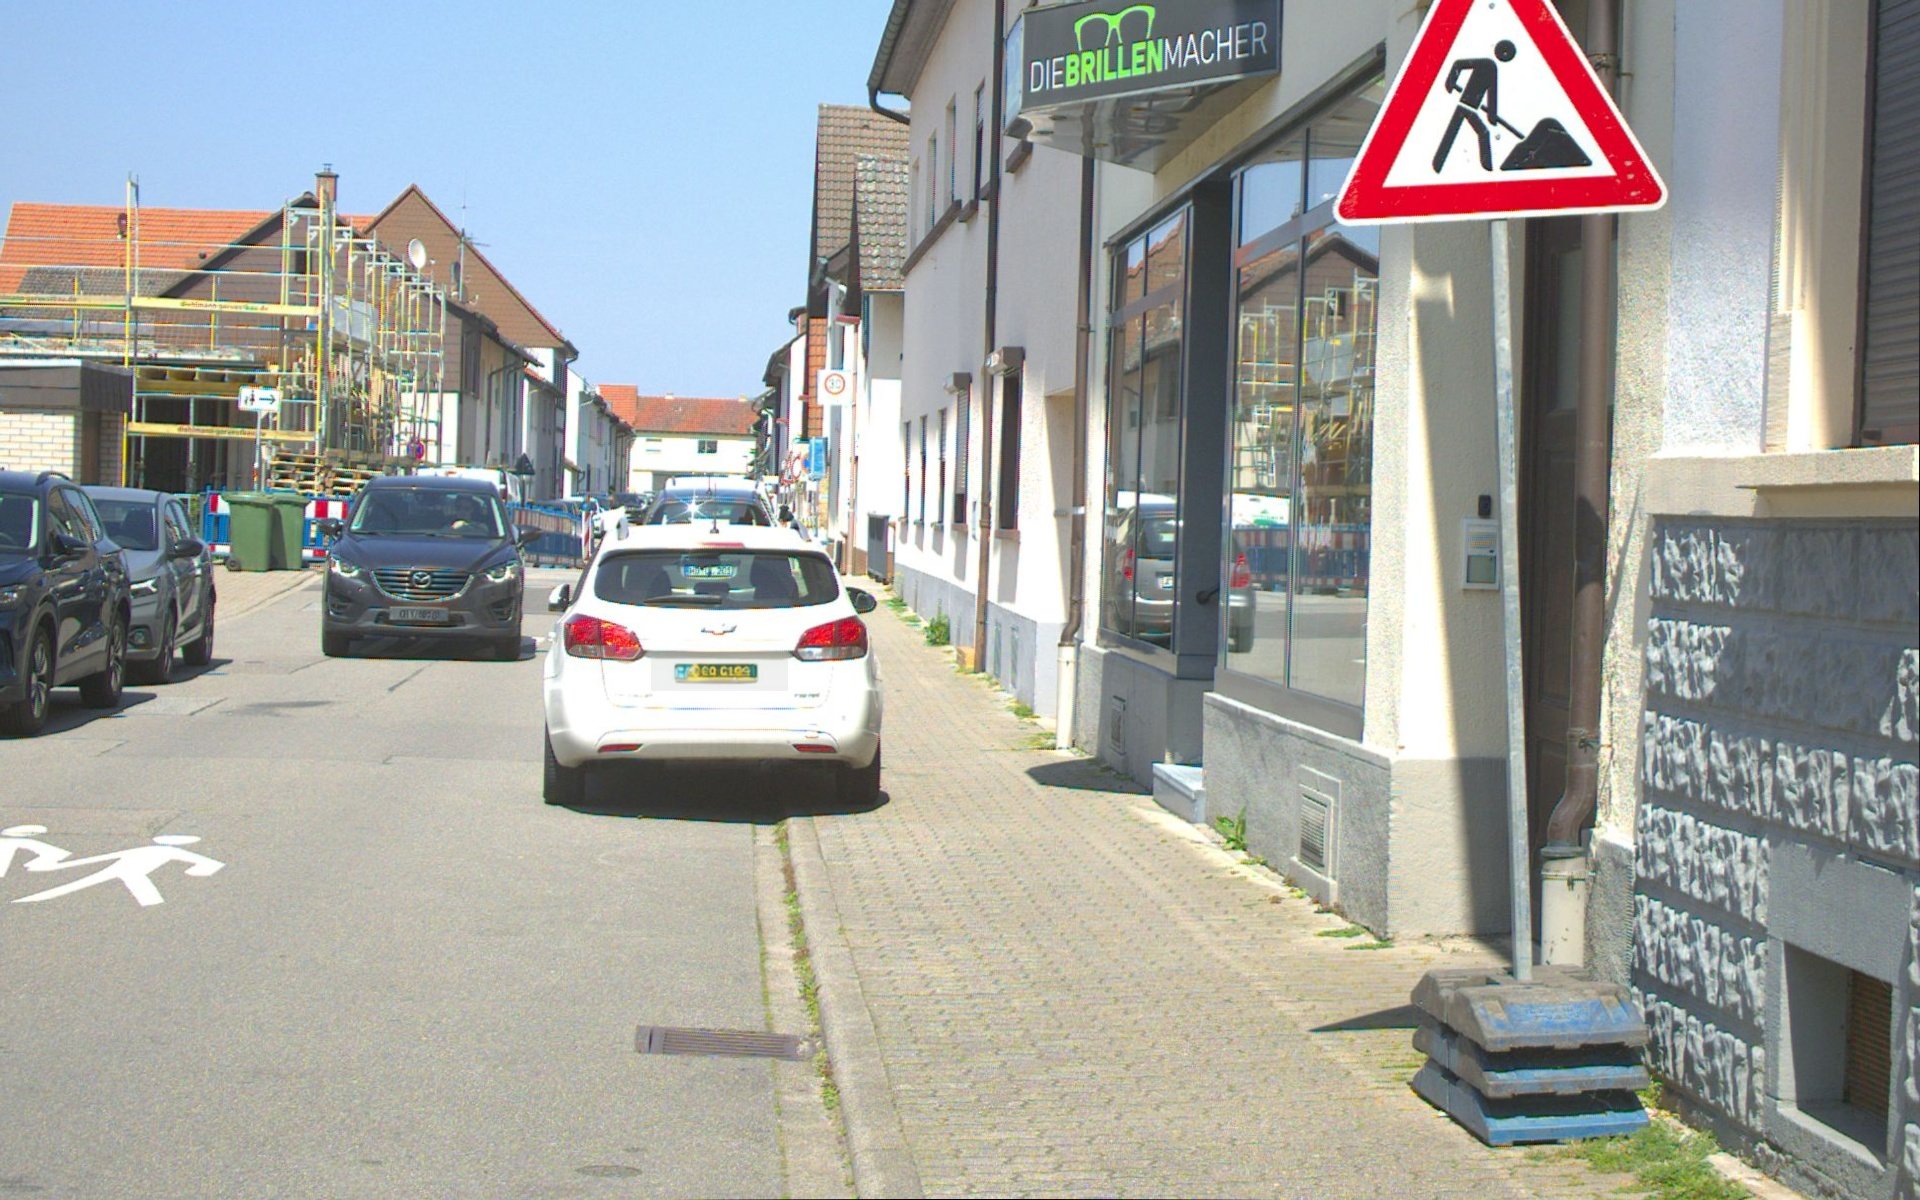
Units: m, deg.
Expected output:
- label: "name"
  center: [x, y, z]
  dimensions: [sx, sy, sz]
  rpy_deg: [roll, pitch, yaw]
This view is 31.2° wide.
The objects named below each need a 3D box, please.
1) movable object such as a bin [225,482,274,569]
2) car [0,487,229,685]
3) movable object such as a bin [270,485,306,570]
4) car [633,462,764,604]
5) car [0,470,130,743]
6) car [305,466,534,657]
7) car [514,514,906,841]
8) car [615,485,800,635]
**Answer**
- label: "movable object such as a bin"
  center: [-9.734, -1.022, 47.120]
  dimensions: [0.621, 1.151, 0.677]
  rpy_deg: [2, 2, -11]
- label: "car"
  center: [-6.936, -0.155, 28.030]
  dimensions: [1.436, 1.469, 3.787]
  rpy_deg: [1, 1, -5]
- label: "movable object such as a bin"
  center: [-9.306, -1.006, 47.597]
  dimensions: [0.431, 1.151, 0.364]
  rpy_deg: [2, 2, -13]
- label: "car"
  center: [-3.360, -0.896, 44.183]
  dimensions: [1.564, 1.607, 3.544]
  rpy_deg: [2, 4, -4]
- label: "car"
  center: [-6.708, -0.051, 22.605]
  dimensions: [1.826, 1.625, 4.218]
  rpy_deg: [2, 2, -6]
- label: "car"
  center: [-5.133, -0.415, 33.113]
  dimensions: [1.881, 1.662, 4.154]
  rpy_deg: [2, 2, -5]
- label: "car"
  center: [-1.425, 0.336, 19.126]
  dimensions: [1.886, 1.536, 4.244]
  rpy_deg: [2, 2, -5]
- label: "car"
  center: [-2.913, -0.498, 39.029]
  dimensions: [1.884, 1.550, 3.895]
  rpy_deg: [-2, 2, -7]
